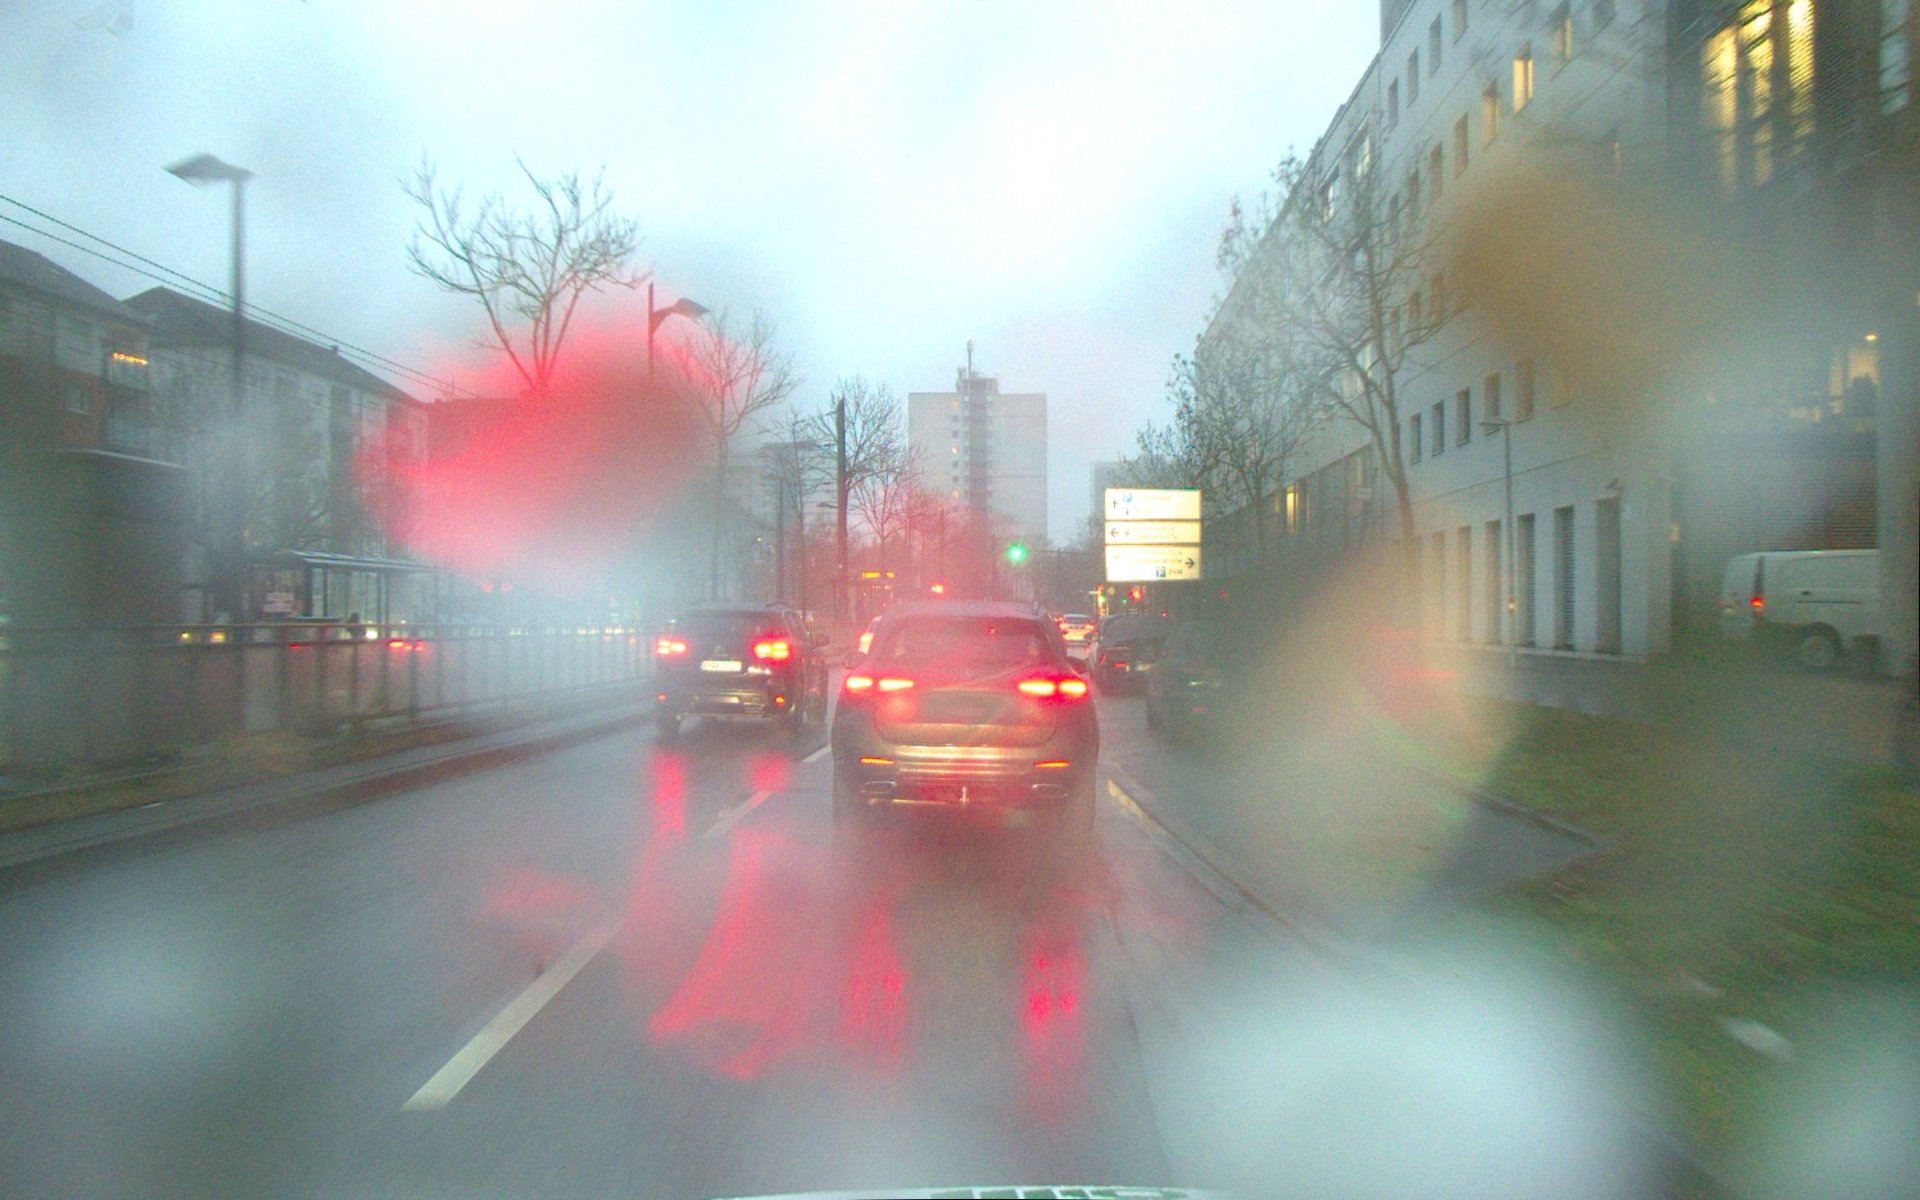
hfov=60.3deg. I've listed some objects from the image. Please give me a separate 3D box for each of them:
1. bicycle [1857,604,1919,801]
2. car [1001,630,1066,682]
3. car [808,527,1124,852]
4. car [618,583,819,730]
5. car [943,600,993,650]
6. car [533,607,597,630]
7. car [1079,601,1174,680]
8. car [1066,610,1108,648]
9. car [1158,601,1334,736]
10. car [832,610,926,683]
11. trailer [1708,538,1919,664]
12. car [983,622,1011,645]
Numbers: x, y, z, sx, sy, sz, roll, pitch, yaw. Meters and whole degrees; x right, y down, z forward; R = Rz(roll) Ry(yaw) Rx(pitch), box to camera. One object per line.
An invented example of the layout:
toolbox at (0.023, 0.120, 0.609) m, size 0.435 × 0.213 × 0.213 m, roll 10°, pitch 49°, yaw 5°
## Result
bicycle at (5.769, 0.573, 9.064) m, size 0.539 × 1.135 × 2.166 m, roll -2°, pitch -2°, yaw 2°
car at (2.200, 1.650, 49.685) m, size 1.847 × 1.377 × 4.103 m, roll 1°, pitch 0°, yaw 2°
car at (0.029, 0.612, 12.453) m, size 1.953 × 2.010 × 4.067 m, roll 1°, pitch -1°, yaw 0°
car at (-3.101, 0.731, 22.136) m, size 1.952 × 1.742 × 4.324 m, roll 1°, pitch -1°, yaw 1°
car at (0.311, 0.942, 61.198) m, size 1.757 × 1.780 × 3.625 m, roll 1°, pitch -1°, yaw 1°
car at (-25.522, 1.180, 106.997) m, size 3.722 × 1.390 × 1.697 m, roll 1°, pitch -1°, yaw -2°
car at (3.252, 0.740, 32.526) m, size 1.717 × 1.427 × 4.252 m, roll 1°, pitch 0°, yaw 5°
car at (6.046, 1.389, 78.965) m, size 1.952 × 1.720 × 3.529 m, roll 1°, pitch -1°, yaw 3°
car at (3.431, 0.813, 20.500) m, size 1.563 × 1.466 × 4.229 m, roll 1°, pitch -1°, yaw 2°
car at (-1.935, 1.139, 40.764) m, size 1.952 × 1.671 × 4.023 m, roll 1°, pitch -1°, yaw 2°
trailer at (15.030, -0.004, 26.743) m, size 4.959 × 1.945 × 2.132 m, roll 0°, pitch 1°, yaw 7°
car at (2.628, 2.369, 117.105) m, size 1.733 × 1.529 × 3.370 m, roll 1°, pitch -1°, yaw 5°
